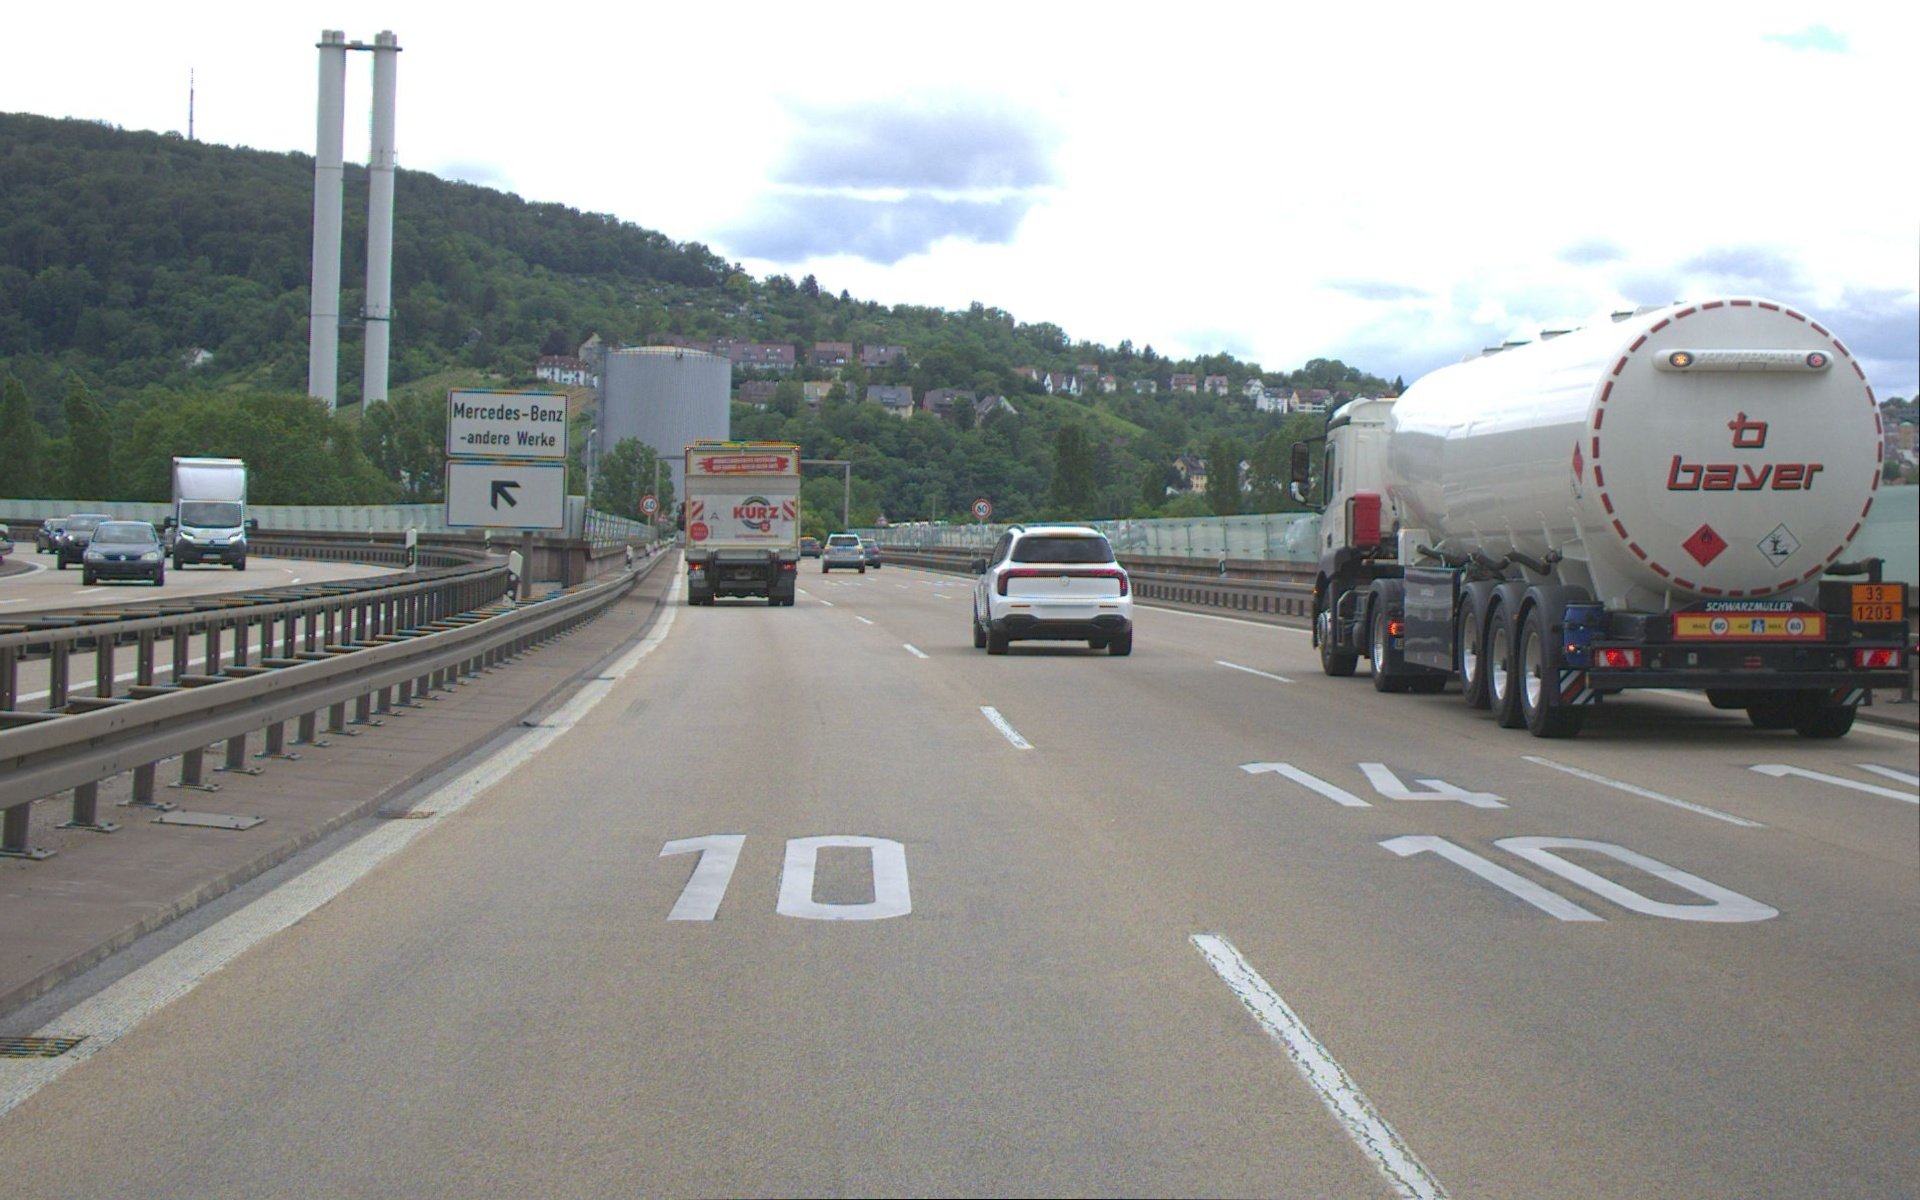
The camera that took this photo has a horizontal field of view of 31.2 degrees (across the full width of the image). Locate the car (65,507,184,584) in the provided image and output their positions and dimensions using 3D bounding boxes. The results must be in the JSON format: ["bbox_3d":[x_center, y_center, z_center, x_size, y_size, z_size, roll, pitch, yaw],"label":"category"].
[{"bbox_3d":[-18.874,-1.220,77.834,1.993,1.669,4.409,1,1,-6],"label":"car"}]

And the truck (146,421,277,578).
[{"bbox_3d":[-22.647,-2.970,104.395,3.056,4.546,8.305,0,1,-7],"label":"truck"}]

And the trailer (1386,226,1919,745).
[{"bbox_3d":[5.907,-0.880,29.363,3.056,3.777,8.305,0,1,-3],"label":"trailer"}]

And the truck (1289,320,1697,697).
[{"bbox_3d":[5.495,-0.916,36.612,3.014,3.644,6.274,1,0,-3],"label":"truck"}]

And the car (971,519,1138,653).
[{"bbox_3d":[1.205,-0.199,45.691,1.993,1.669,4.408,1,1,-1],"label":"car"}]

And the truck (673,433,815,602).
[{"bbox_3d":[-4.989,-1.853,79.309,3.056,3.678,8.305,0,1,-4],"label":"truck"}]
